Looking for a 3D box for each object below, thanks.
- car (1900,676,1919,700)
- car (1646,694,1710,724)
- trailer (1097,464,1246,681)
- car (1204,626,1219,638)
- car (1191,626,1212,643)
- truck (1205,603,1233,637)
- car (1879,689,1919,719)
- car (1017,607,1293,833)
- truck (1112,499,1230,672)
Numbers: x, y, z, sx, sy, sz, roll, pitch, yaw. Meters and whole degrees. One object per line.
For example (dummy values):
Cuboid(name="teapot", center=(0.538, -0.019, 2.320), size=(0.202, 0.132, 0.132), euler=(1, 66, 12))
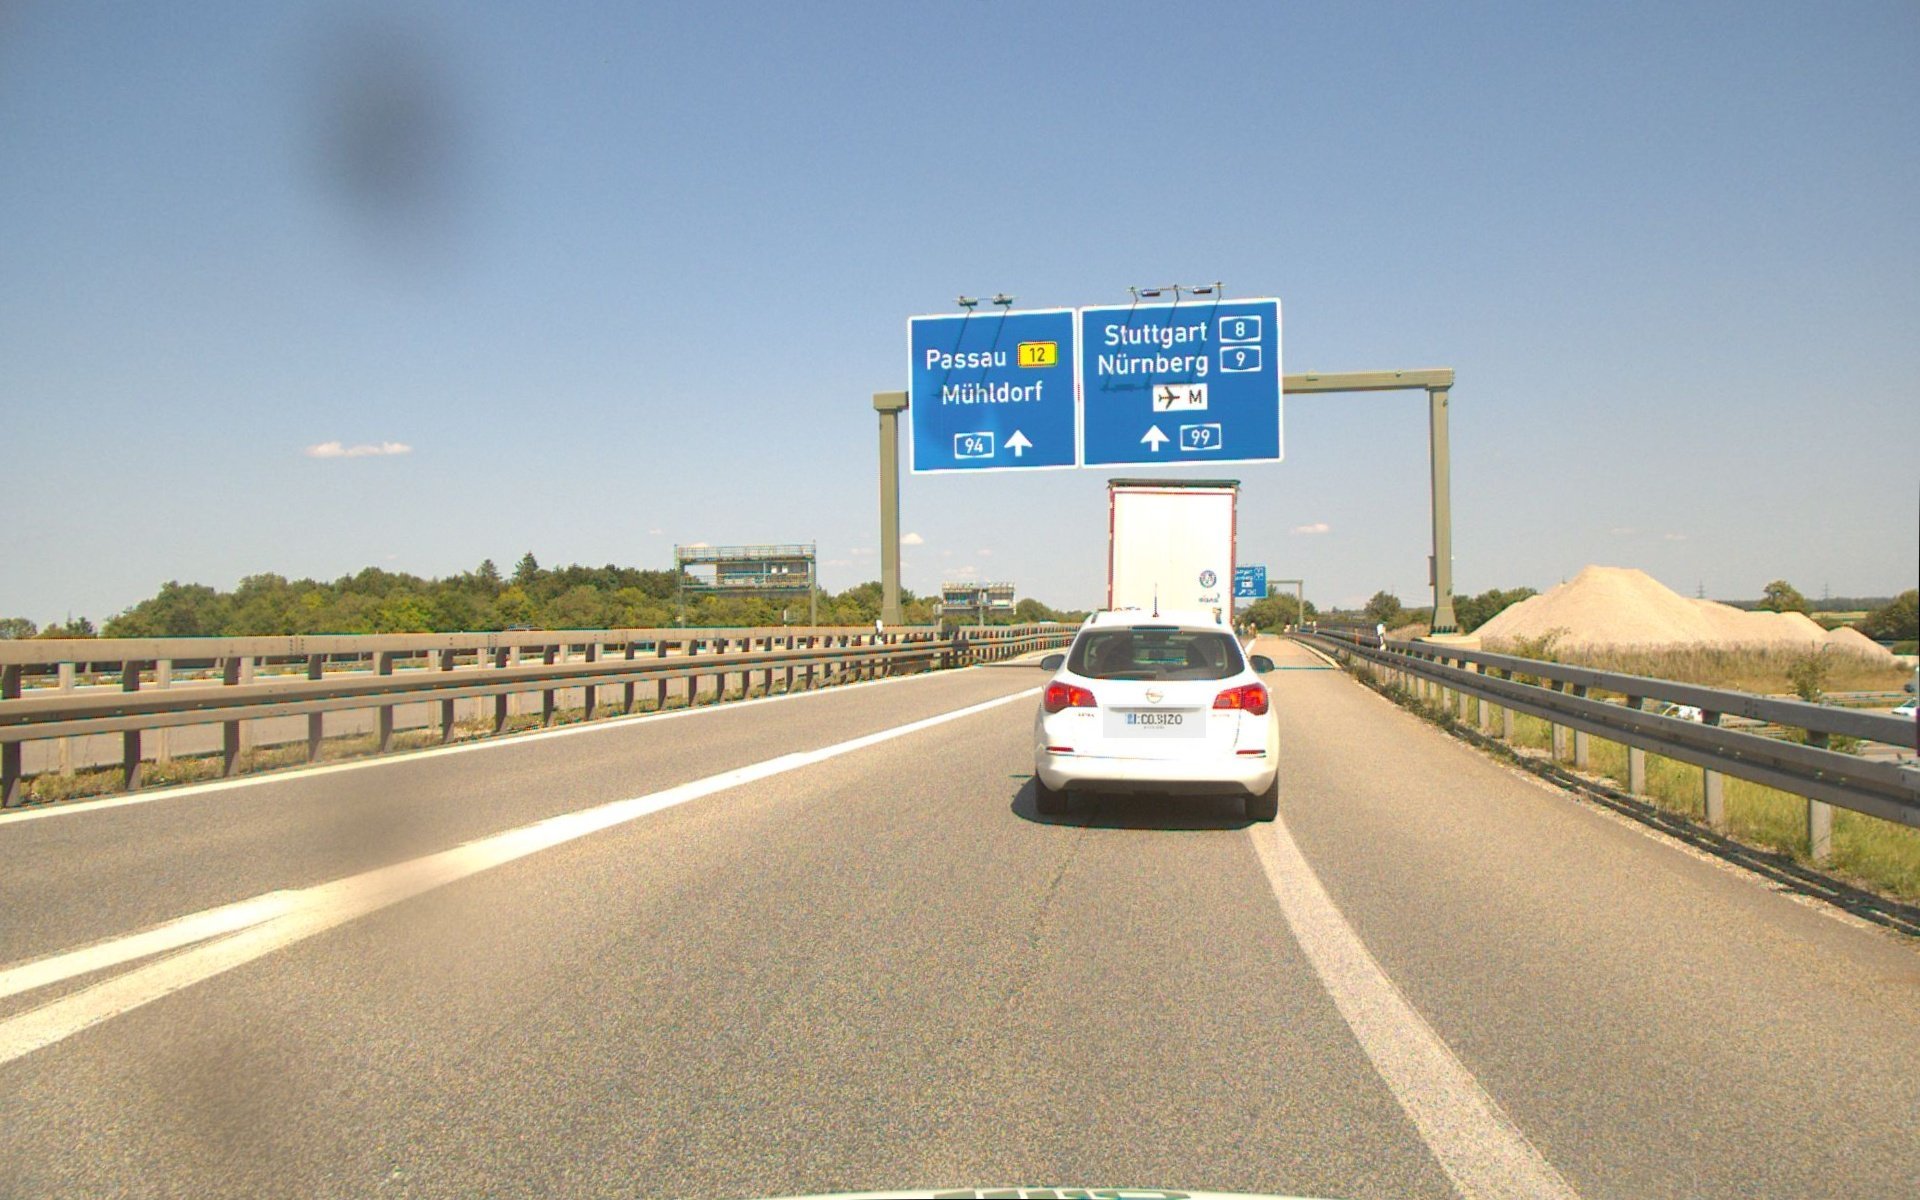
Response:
Cuboid(name="car", center=(87.810, 8.024, 149.760), size=(4.304, 2.049, 2.000), euler=(1, -1, 0))
Cuboid(name="car", center=(52.356, 7.936, 120.679), size=(3.903, 2.049, 1.804), euler=(1, -1, 3))
Cuboid(name="trailer", center=(4.873, -0.378, 37.876), size=(2.850, 4.218, 11.265), euler=(1, -2, 8))
Cuboid(name="car", center=(29.907, 3.820, 196.568), size=(1.618, 1.404, 4.003), euler=(2, -1, 11))
Cuboid(name="car", center=(21.628, 3.126, 147.975), size=(1.618, 1.404, 4.003), euler=(2, -1, 11))
Cuboid(name="truck", center=(34.650, 2.757, 221.032), size=(3.463, 4.218, 11.266), euler=(2, -1, 10))
Cuboid(name="car", center=(70.402, 7.684, 121.870), size=(4.304, 2.049, 2.000), euler=(1, -1, 0))
Cuboid(name="car", center=(1.576, 0.821, 13.157), size=(1.815, 1.468, 4.375), euler=(0, -1, 8))
Cuboid(name="truck", center=(5.708, -0.262, 43.990), size=(2.850, 4.218, 6.930), euler=(1, -2, 9))
